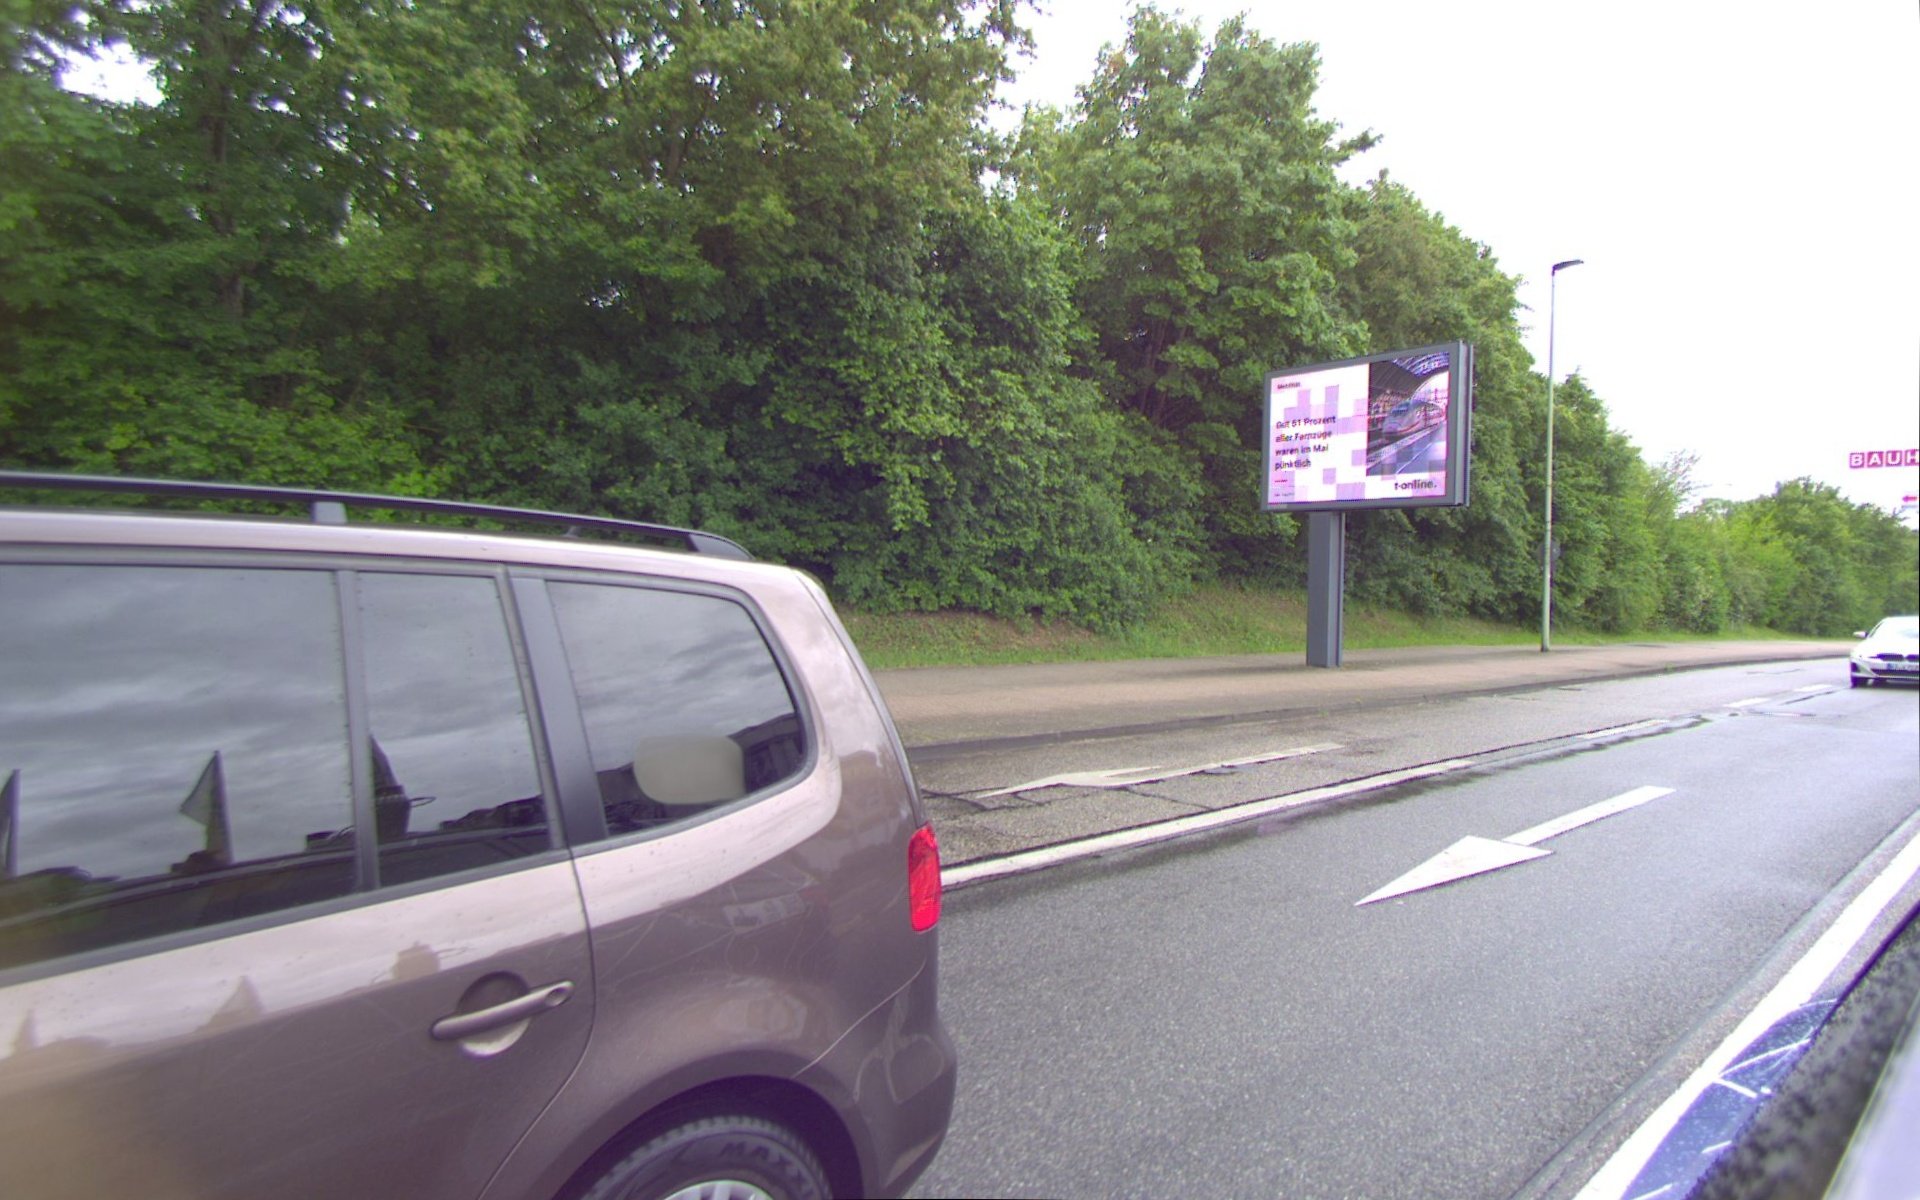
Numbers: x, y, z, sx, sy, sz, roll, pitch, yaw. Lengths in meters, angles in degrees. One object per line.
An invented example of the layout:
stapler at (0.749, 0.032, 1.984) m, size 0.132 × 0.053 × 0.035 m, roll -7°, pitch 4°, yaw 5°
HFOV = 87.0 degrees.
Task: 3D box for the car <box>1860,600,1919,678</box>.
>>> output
car at (20.412, 0.826, 20.933) m, size 3.924 × 1.500 × 1.865 m, roll 2°, pitch 0°, yaw -36°

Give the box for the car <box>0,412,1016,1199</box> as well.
car at (-1.975, 0.585, 1.387) m, size 4.058 × 1.617 × 1.717 m, roll 1°, pitch 0°, yaw -42°
